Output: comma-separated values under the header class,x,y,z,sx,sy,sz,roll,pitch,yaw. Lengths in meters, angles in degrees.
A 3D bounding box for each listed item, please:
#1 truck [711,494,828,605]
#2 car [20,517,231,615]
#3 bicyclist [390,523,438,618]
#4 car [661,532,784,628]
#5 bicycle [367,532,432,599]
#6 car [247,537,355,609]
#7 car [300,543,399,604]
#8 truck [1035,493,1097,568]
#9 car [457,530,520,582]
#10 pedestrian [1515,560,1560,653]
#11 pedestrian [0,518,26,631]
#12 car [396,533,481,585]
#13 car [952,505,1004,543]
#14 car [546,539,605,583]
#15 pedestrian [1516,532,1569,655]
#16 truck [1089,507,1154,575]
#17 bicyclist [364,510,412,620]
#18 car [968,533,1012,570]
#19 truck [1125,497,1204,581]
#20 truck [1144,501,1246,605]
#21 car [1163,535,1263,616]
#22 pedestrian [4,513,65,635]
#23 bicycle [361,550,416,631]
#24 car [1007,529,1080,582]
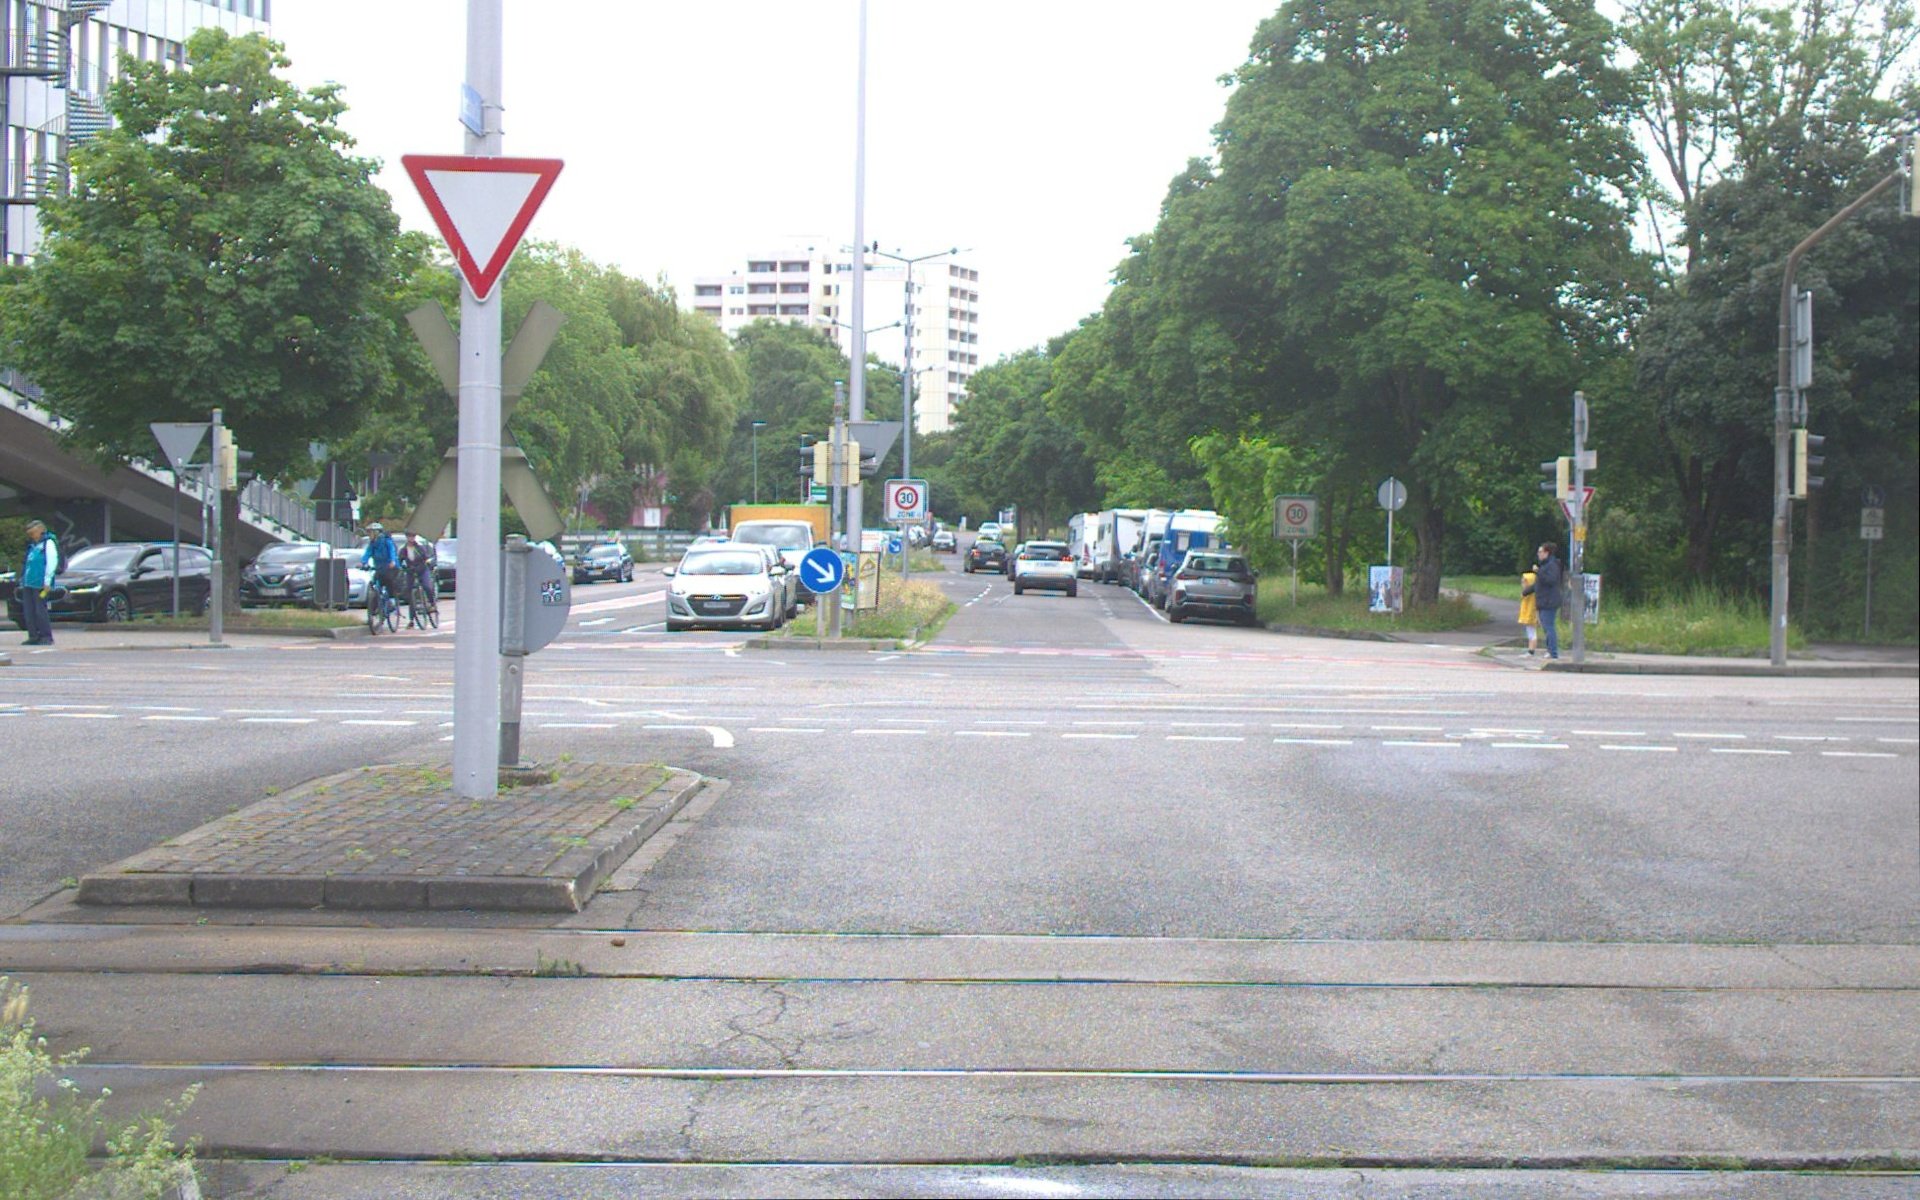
class,x,y,z,sx,sy,sz,roll,pitch,yaw
truck,-3.948,-1.084,72.103,2.155,2.191,5.841,1,1,-1
car,-13.827,-0.578,57.195,1.673,1.546,3.997,1,1,15
bicyclist,-9.283,-0.498,58.457,0.679,1.589,0.695,1,0,-1
car,-3.962,-0.368,57.833,1.789,1.514,4.326,1,1,-1
bicycle,-9.375,-0.589,57.599,0.726,1.097,2.264,1,1,-1
car,-14.850,-0.623,77.645,1.671,1.546,3.892,1,1,0
car,-14.746,-0.658,83.141,1.671,1.382,3.895,1,1,0
truck,4.392,-2.855,142.922,1.993,2.998,5.773,1,1,-4
car,-14.543,-1.367,106.137,1.444,1.546,3.664,1,1,-1
pedestrian,8.373,0.089,49.838,0.527,1.337,0.525,1,1,-1
pedestrian,-12.958,-0.344,45.865,0.917,1.505,0.404,1,1,-11
car,-14.501,-1.157,95.755,1.763,1.390,4.000,1,1,-1
car,0.719,-3.107,140.209,2.020,1.500,4.000,1,1,-1
car,-14.064,-1.432,125.756,1.671,1.546,4.000,1,1,0
pedestrian,8.346,-0.095,49.268,0.657,1.744,0.459,1,1,-1
truck,6.169,-2.248,132.135,1.993,2.564,5.379,1,1,-2
bicyclist,-9.257,-0.568,55.637,0.644,1.762,0.647,1,1,-1
car,1.267,-2.073,146.411,1.553,1.500,4.001,1,1,-4
truck,7.107,-2.121,120.062,1.993,2.828,5.732,1,1,-4
truck,6.157,-1.240,90.720,2.174,2.647,6.247,0,1,-1
car,5.401,-0.545,73.929,1.784,1.656,4.000,1,1,-1
pedestrian,-12.327,-0.348,45.800,0.687,1.599,0.488,1,1,-5
bicycle,-9.281,-0.168,55.904,0.543,1.263,2.111,1,1,-1
car,2.464,-1.341,102.265,2.020,1.500,4.000,1,1,-1
